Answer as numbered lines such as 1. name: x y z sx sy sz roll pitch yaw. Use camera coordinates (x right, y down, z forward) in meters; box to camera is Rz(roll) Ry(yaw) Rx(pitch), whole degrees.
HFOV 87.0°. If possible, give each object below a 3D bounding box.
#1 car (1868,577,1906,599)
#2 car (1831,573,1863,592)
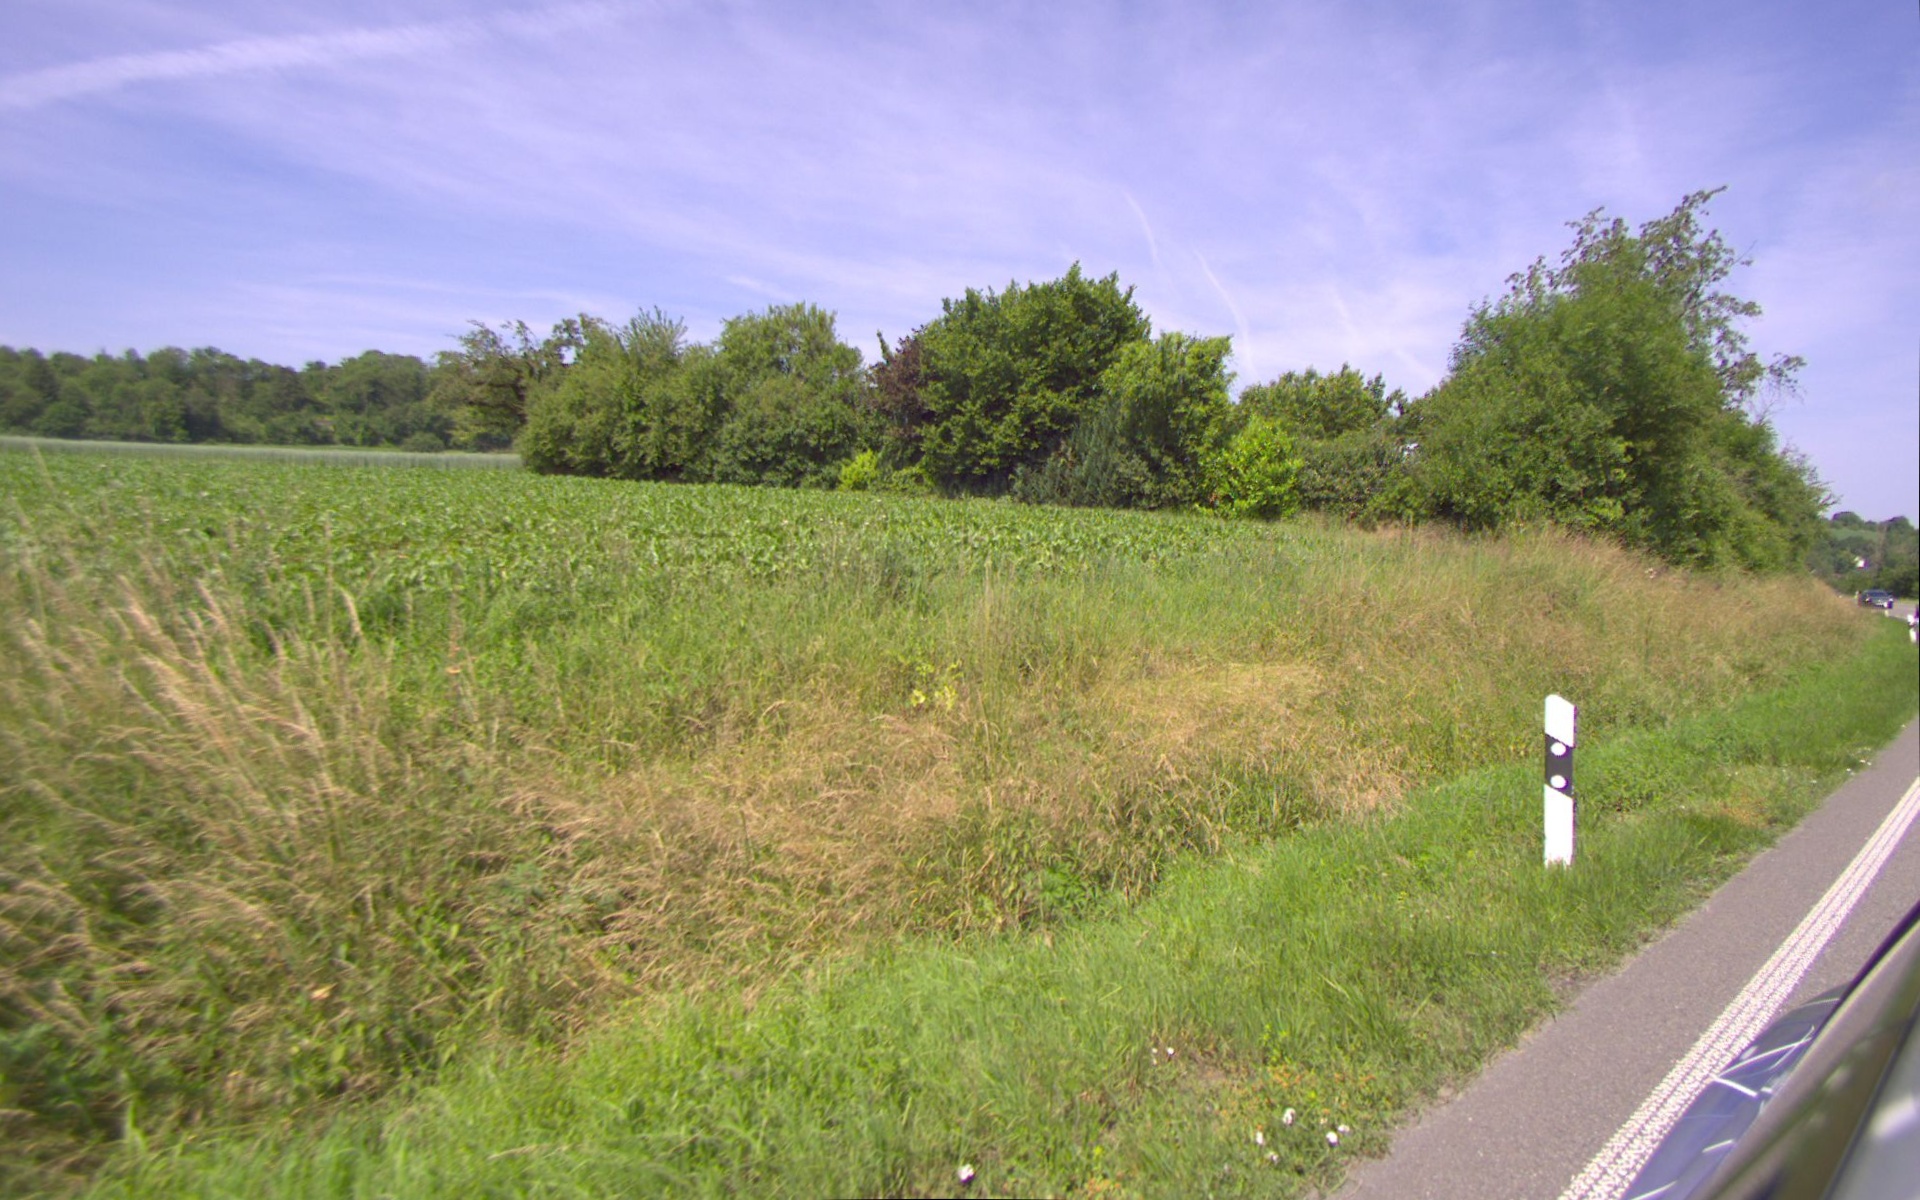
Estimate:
1. car: 75.093 -1.018 82.052 1.818 1.537 3.946 7 6 37
2. car: 87.781 -1.766 100.198 1.656 1.669 3.954 7 5 32
